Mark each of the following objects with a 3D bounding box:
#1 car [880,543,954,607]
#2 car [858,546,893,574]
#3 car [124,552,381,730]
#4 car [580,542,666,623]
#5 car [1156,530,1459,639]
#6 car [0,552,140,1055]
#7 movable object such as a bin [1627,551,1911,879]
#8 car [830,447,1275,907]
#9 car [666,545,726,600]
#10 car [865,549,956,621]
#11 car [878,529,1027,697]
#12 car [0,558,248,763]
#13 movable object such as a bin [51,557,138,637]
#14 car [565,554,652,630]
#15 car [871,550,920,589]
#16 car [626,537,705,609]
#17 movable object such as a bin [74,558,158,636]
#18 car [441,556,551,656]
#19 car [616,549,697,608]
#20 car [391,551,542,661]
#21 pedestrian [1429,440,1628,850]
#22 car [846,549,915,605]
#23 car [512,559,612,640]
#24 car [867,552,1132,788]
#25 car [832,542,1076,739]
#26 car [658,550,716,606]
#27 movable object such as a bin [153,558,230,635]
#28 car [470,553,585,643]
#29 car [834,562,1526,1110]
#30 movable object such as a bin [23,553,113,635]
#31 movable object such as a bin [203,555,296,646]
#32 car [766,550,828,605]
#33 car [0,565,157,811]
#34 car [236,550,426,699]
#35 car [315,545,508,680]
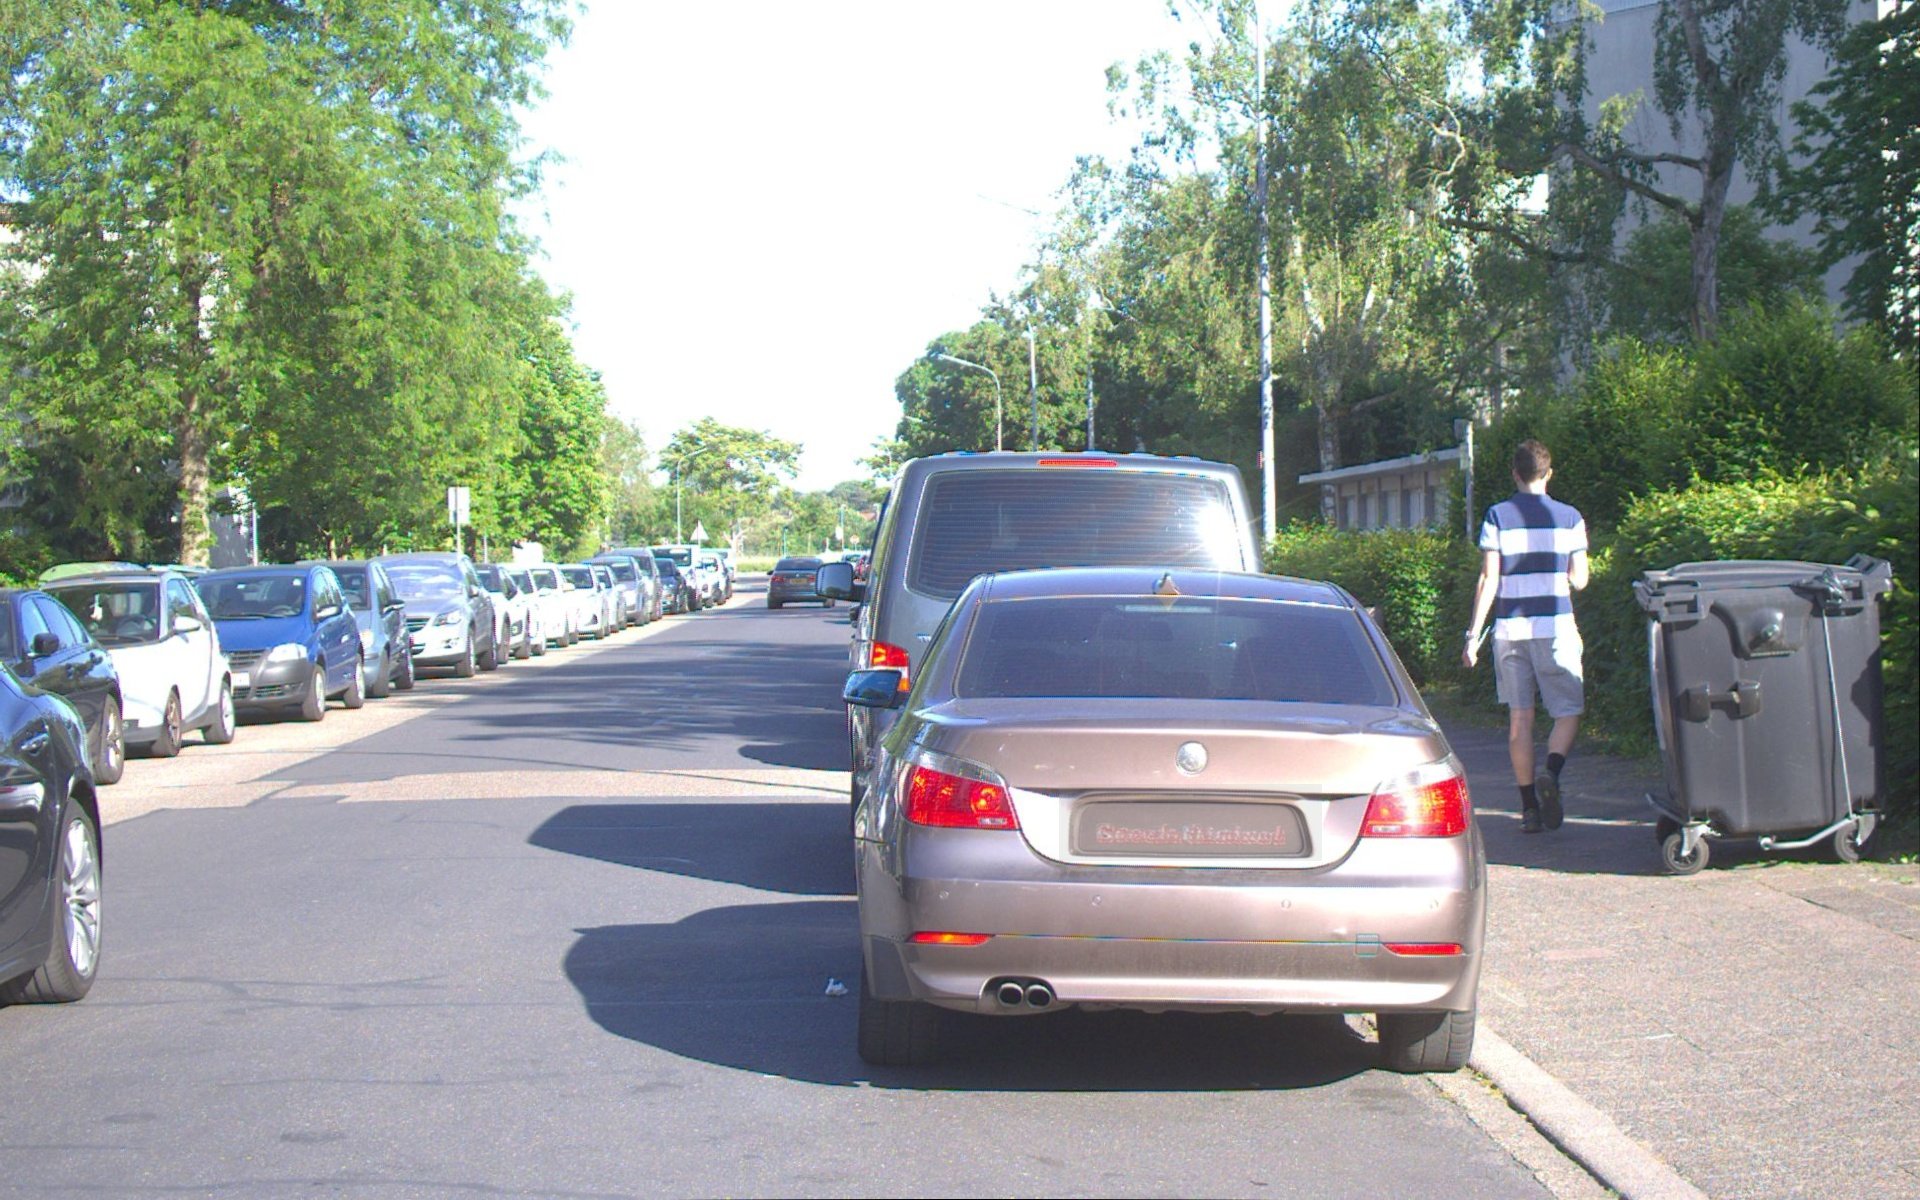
[{"bbox_3d":[-1.162,-0.680,91.212,1.908,1.634,4.629,0,1,-1],"label":"car"},{"bbox_3d":[-4.764,-2.228,192.601,1.795,1.543,3.952,0,1,-4],"label":"car"},{"bbox_3d":[-7.107,0.361,34.887,1.754,1.600,3.969,-3,1,-1],"label":"car"},{"bbox_3d":[-8.284,-0.454,84.790,1.854,1.886,4.419,-2,1,-3],"label":"car"},{"bbox_3d":[5.415,-0.255,53.914,4.513,1.508,1.829,-2,1,0],"label":"car"},{"bbox_3d":[-3.788,0.635,9.776,1.910,1.471,4.571,-2,1,-2],"label":"car"},{"bbox_3d":[3.529,0.477,15.137,1.026,1.305,1.386,-4,1,9],"label":"movable object such as a bin"},{"bbox_3d":[0.301,0.293,16.808,1.852,1.927,4.705,0,1,-2],"label":"car"},{"bbox_3d":[-8.737,-0.915,114.039,1.746,1.726,4.006,-2,1,-1],"label":"car"},{"bbox_3d":[-1.116,-0.355,74.980,1.753,1.508,4.105,1,1,-4],"label":"car"},{"bbox_3d":[-0.106,0.112,36.465,1.488,1.712,2.583,0,1,-2],"label":"car"},{"bbox_3d":[-7.078,0.466,29.210,1.444,1.569,3.142,-3,1,-2],"label":"car"},{"bbox_3d":[-15.916,-0.056,63.249,1.177,1.416,1.462,2,1,1],"label":"movable object such as a bin"},{"bbox_3d":[-8.009,-0.196,78.645,1.709,1.595,3.986,-3,1,-3],"label":"car"},{"bbox_3d":[-2.584,-1.233,137.369,1.795,1.556,3.952,0,1,-4],"label":"car"},{"bbox_3d":[-8.544,-0.803,100.138,1.915,1.956,5.088,-2,1,-1],"label":"car"},{"bbox_3d":[-15.889,-0.068,64.770,1.177,1.416,1.462,2,1,1],"label":"movable object such as a bin"},{"bbox_3d":[-7.539,0.072,55.834,1.662,1.508,3.539,-2,1,-8],"label":"car"},{"bbox_3d":[-8.278,-0.609,94.023,1.746,1.528,4.139,-2,1,1],"label":"car"},{"bbox_3d":[-7.327,0.061,51.353,1.662,1.508,3.946,-2,1,0],"label":"car"},{"bbox_3d":[2.725,0.206,16.544,0.703,1.882,0.872,-3,1,0],"label":"pedestrian"},{"bbox_3d":[-2.250,-0.663,97.039,1.908,1.525,4.328,0,1,-1],"label":"car"},{"bbox_3d":[-7.842,-0.036,68.002,1.686,1.500,3.818,-2,1,-3],"label":"car"},{"bbox_3d":[0.198,0.416,23.783,1.623,1.485,4.036,0,1,-2],"label":"car"},{"bbox_3d":[-0.128,0.285,29.270,1.731,1.485,4.502,-2,1,-4],"label":"car"},{"bbox_3d":[-8.593,-0.703,108.383,1.746,1.664,4.379,-2,1,-4],"label":"car"},{"bbox_3d":[-14.612,-0.078,65.372,1.134,1.416,1.361,2,1,0],"label":"movable object such as a bin"},{"bbox_3d":[-7.801,-0.063,62.266,1.686,1.529,3.891,-2,1,-2],"label":"car"},{"bbox_3d":[0.576,0.591,11.268,1.801,1.414,4.636,0,1,0],"label":"car"},{"bbox_3d":[-15.883,-0.111,61.234,1.177,1.416,1.462,2,1,1],"label":"movable object such as a bin"},{"bbox_3d":[-11.155,0.001,53.998,1.136,1.378,1.442,2,1,0],"label":"movable object such as a bin"},{"bbox_3d":[-4.669,-0.665,98.064,1.679,1.508,4.105,1,1,-4],"label":"car"},{"bbox_3d":[-6.751,0.560,23.115,1.754,1.476,4.538,-3,1,-3],"label":"car"},{"bbox_3d":[-7.257,0.248,39.926,1.635,1.600,3.535,-2,1,-2],"label":"car"},{"bbox_3d":[-7.184,0.127,45.440,1.903,1.634,4.349,-2,1,-2],"label":"car"}]
